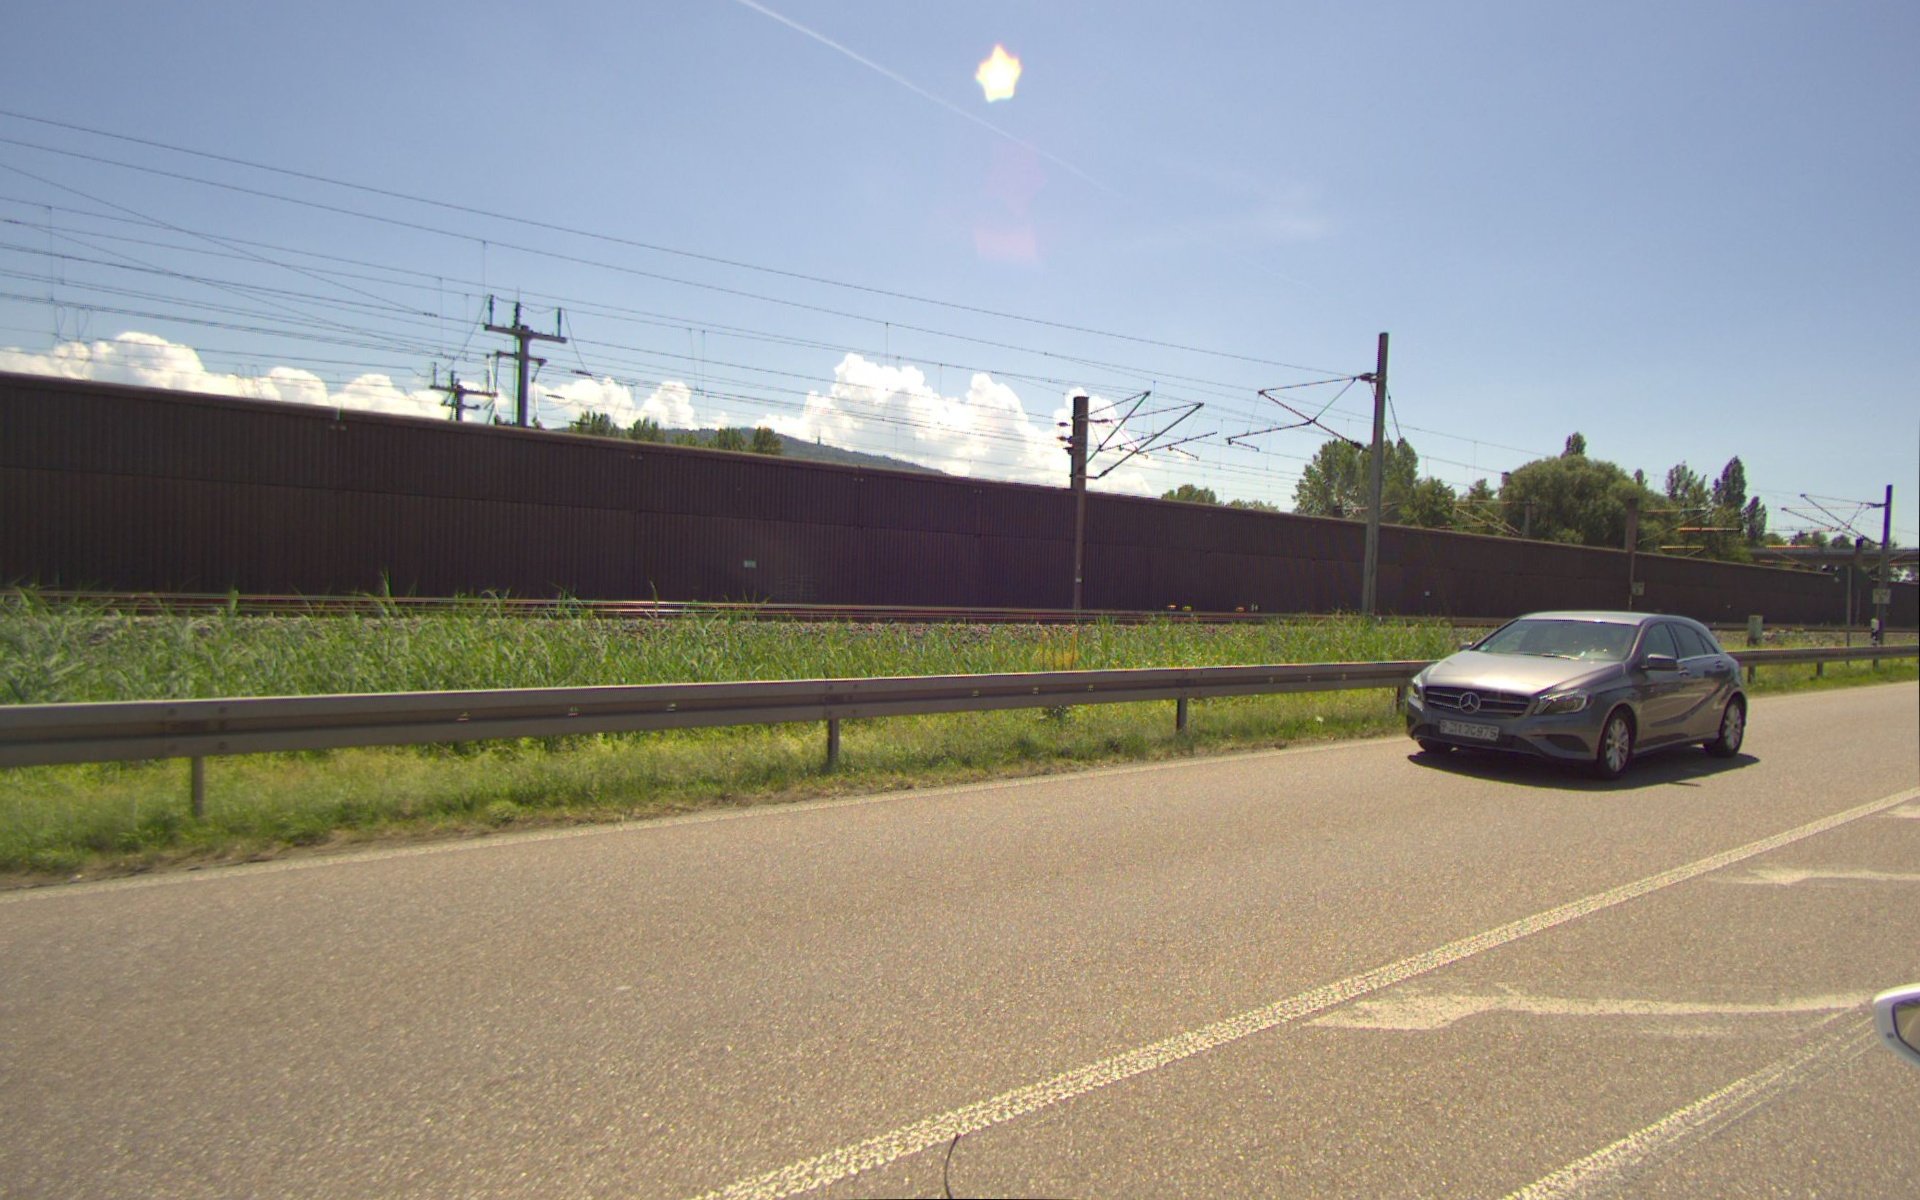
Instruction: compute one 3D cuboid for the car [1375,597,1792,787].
[{"bbox_3d":[6.511,0.780,10.284,4.838,1.505,1.852,1,1,-35],"label":"car"}]
